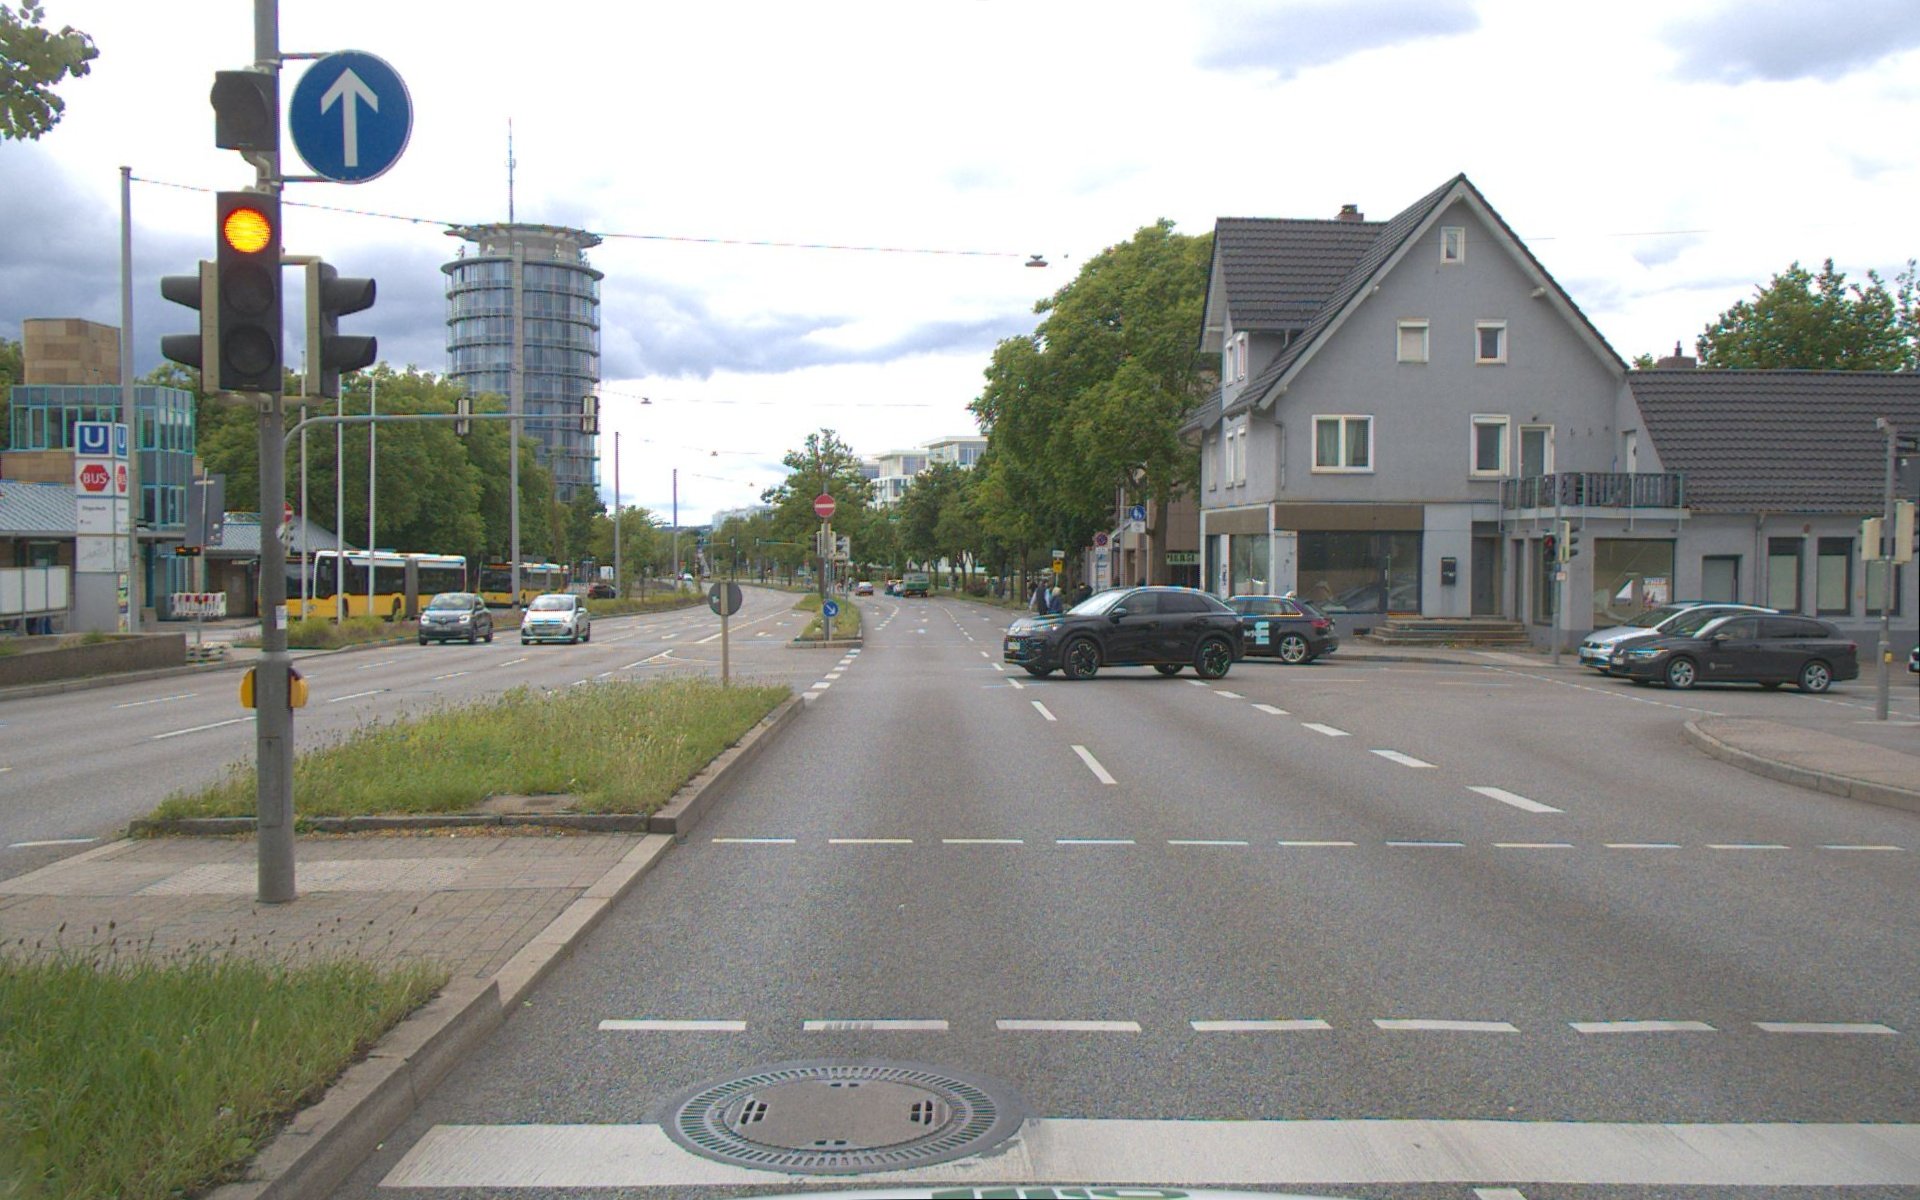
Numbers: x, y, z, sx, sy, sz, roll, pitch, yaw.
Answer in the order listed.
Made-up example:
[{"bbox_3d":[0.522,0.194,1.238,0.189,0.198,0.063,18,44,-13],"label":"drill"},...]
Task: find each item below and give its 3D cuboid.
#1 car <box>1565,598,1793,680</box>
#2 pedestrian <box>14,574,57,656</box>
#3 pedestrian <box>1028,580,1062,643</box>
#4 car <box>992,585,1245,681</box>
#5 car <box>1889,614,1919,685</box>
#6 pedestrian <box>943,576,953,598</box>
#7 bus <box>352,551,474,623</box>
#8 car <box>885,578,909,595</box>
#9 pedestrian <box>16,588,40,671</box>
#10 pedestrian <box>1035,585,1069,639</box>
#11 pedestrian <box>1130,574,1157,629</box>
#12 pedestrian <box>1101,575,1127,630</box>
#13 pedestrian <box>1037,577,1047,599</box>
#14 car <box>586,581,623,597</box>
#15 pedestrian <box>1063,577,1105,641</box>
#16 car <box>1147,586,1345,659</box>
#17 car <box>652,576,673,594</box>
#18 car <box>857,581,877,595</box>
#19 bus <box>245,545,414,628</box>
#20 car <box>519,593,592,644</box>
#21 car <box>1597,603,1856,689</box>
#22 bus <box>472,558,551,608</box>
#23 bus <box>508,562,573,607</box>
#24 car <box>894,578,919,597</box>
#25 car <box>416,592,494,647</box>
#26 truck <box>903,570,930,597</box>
[{"bbox_3d":[15.104,0.813,34.858,4.022,1.567,1.826,2,0,-6],"label":"car"},{"bbox_3d":[-22.116,0.348,39.567,0.647,1.930,0.685,0,0,-1],"label":"pedestrian"},{"bbox_3d":[2.479,0.325,48.408,0.851,1.811,0.706,0,0,-10],"label":"pedestrian"},{"bbox_3d":[2.743,0.519,28.608,4.006,1.547,1.827,0,1,-25],"label":"car"},{"bbox_3d":[22.562,1.087,35.460,4.156,1.503,2.000,1,0,-1],"label":"car"},{"bbox_3d":[-1.346,-1.434,182.745,0.914,2.349,1.008,1,-1,-10],"label":"pedestrian"},{"bbox_3d":[-26.546,-0.614,80.715,2.927,3.327,7.879,-1,0,3],"label":"bus"},{"bbox_3d":[-6.607,-1.393,173.778,2.207,1.676,4.927,0,0,-6],"label":"car"},{"bbox_3d":[-18.500,0.579,32.828,0.414,1.619,0.353,0,0,-30],"label":"pedestrian"},{"bbox_3d":[2.650,0.347,47.646,0.851,1.533,0.706,0,0,-10],"label":"pedestrian"},{"bbox_3d":[5.697,0.056,51.262,0.691,1.691,0.870,0,0,-3],"label":"pedestrian"},{"bbox_3d":[4.789,0.061,51.419,0.691,1.691,0.870,0,0,-2],"label":"pedestrian"},{"bbox_3d":[6.136,-0.896,124.088,0.638,1.597,0.669,0,0,-9],"label":"pedestrian"},{"bbox_3d":[-35.612,-1.090,165.800,3.483,1.518,1.705,-1,0,-7],"label":"car"},{"bbox_3d":[3.480,0.249,46.438,1.030,1.791,0.706,0,0,-10],"label":"pedestrian"},{"bbox_3d":[6.193,0.479,35.737,3.999,1.521,1.896,0,0,17],"label":"car"},{"bbox_3d":[-35.912,-1.835,199.739,1.925,2.049,3.999,1,0,-1],"label":"car"},{"bbox_3d":[-9.724,-1.264,173.021,1.929,1.444,4.017,0,0,-6],"label":"car"},{"bbox_3d":[-27.083,-0.561,71.690,2.927,3.307,10.174,-1,0,3],"label":"bus"},{"bbox_3d":[-12.365,0.550,50.723,1.651,1.488,3.552,0,0,-5],"label":"car"},{"bbox_3d":[14.682,0.863,31.796,4.188,1.506,1.714,1,1,-3],"label":"car"},{"bbox_3d":[-30.787,-1.120,114.009,3.082,3.281,10.279,0,0,-3],"label":"bus"},{"bbox_3d":[-31.149,-1.135,123.007,3.081,3.281,7.762,0,0,-2],"label":"bus"},{"bbox_3d":[-5.316,-1.245,164.528,2.207,1.787,4.927,0,0,-5],"label":"car"},{"bbox_3d":[-15.473,0.564,50.811,1.652,1.606,3.344,0,0,-6],"label":"car"},{"bbox_3d":[-4.031,-1.538,153.975,2.207,2.459,4.927,0,0,-5],"label":"truck"}]
